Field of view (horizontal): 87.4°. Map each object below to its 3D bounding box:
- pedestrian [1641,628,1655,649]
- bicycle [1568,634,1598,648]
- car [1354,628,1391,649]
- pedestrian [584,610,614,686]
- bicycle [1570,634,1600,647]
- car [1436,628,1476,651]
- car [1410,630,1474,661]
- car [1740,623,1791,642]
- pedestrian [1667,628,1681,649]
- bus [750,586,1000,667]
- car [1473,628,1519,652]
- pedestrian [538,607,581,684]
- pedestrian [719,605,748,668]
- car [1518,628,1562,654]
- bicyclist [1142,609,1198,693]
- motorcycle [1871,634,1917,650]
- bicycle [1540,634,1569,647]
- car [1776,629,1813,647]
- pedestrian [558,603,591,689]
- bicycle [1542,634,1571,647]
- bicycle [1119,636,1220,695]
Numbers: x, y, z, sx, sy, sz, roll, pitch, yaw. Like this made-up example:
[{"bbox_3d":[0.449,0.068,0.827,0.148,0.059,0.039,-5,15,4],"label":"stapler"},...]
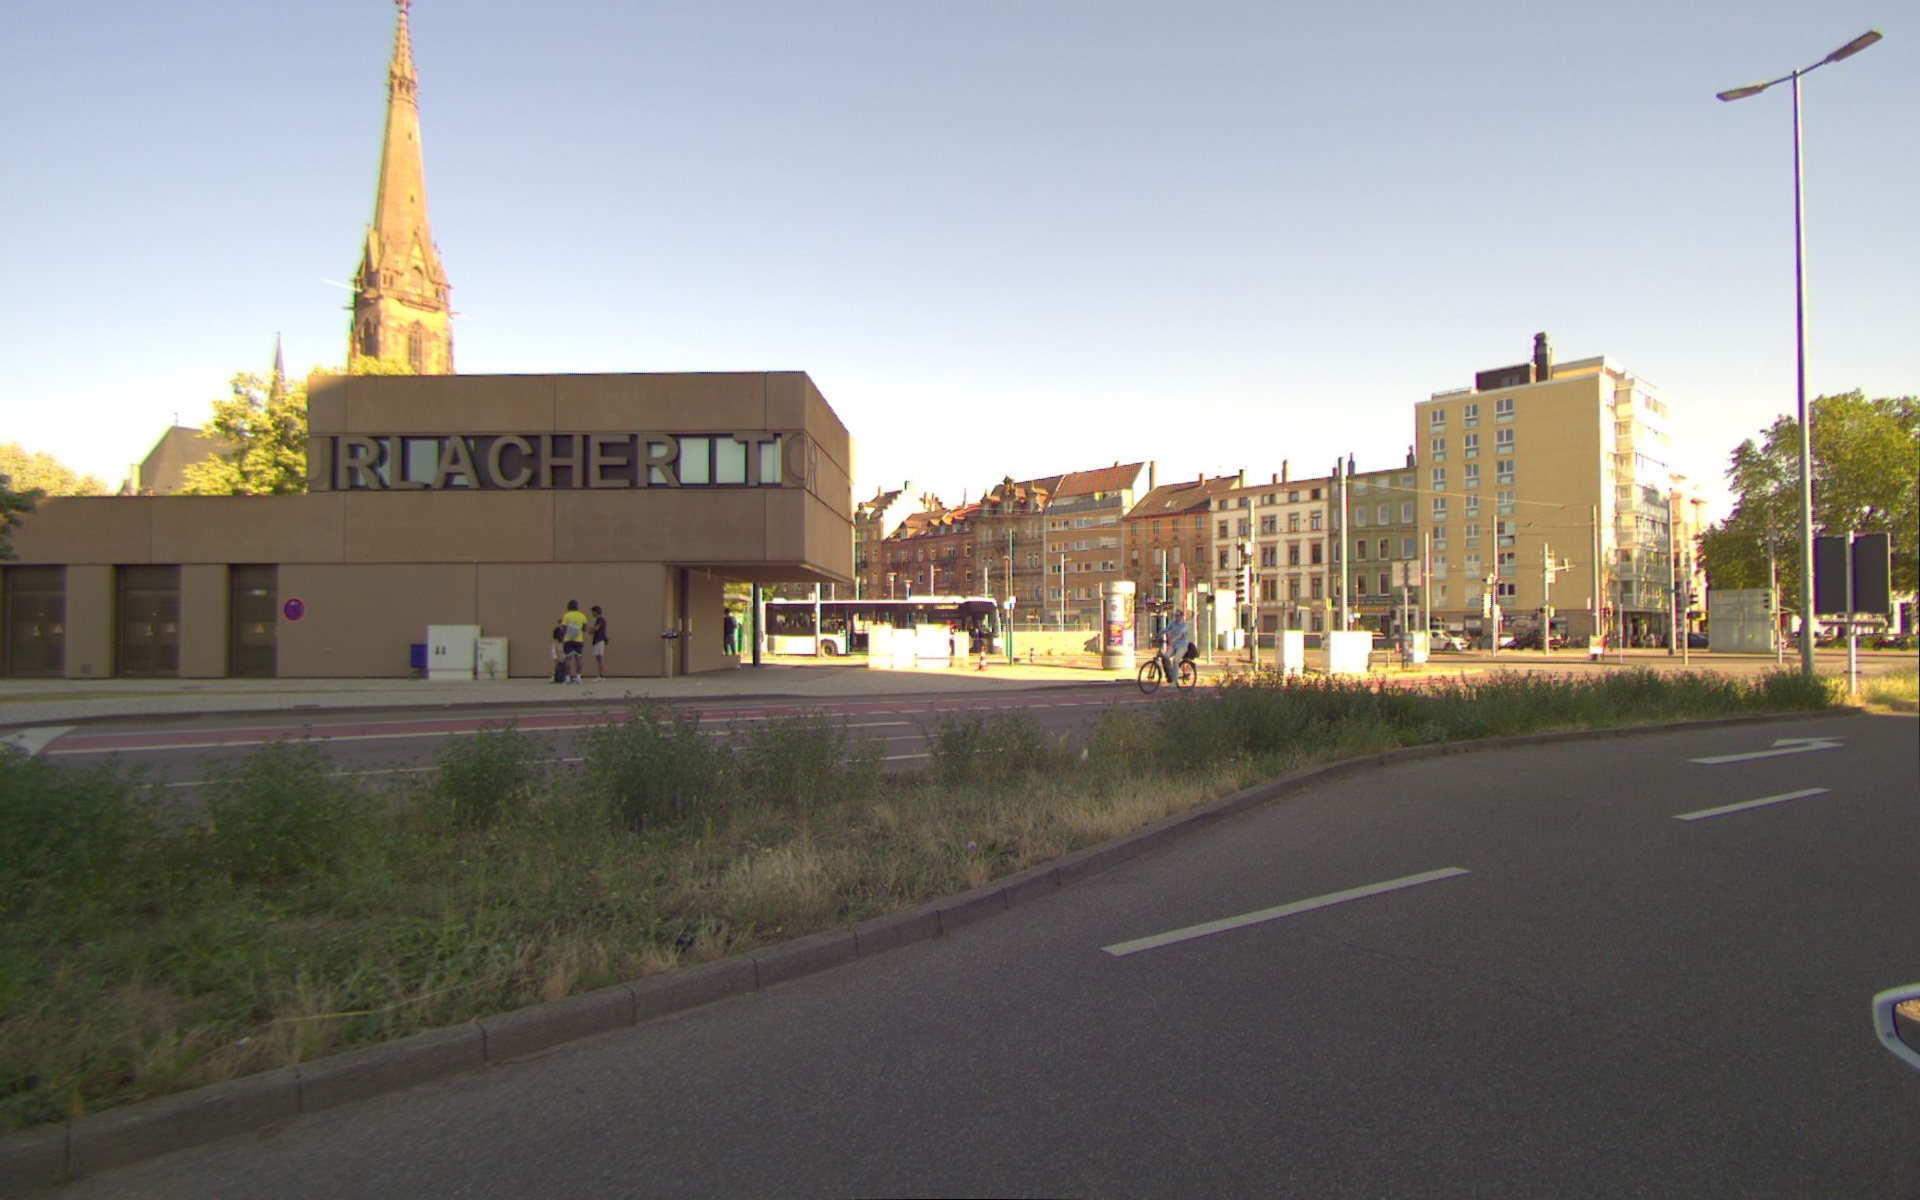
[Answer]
[{"bbox_3d":[57.032,3.179,83.238,0.776,1.698,0.769,1,-2,-41],"label":"pedestrian"},{"bbox_3d":[52.255,3.422,84.251,0.772,1.104,2.023,2,-2,-43],"label":"bicycle"},{"bbox_3d":[36.792,3.423,89.743,2.044,1.742,4.012,-1,0,7],"label":"car"},{"bbox_3d":[-8.286,1.081,23.070,0.540,1.711,0.638,-1,0,-11],"label":"pedestrian"},{"bbox_3d":[52.831,3.413,84.869,0.772,1.104,2.023,2,-2,-43],"label":"bicycle"},{"bbox_3d":[41.454,3.313,84.025,1.802,1.742,4.002,-1,0,7],"label":"car"},{"bbox_3d":[34.699,3.252,72.347,1.986,2.040,3.699,-1,0,-43],"label":"car"},{"bbox_3d":[84.158,3.423,105.017,3.930,1.882,1.848,-1,0,31],"label":"car"},{"bbox_3d":[58.178,3.141,81.884,0.776,1.698,0.769,1,-2,-41],"label":"pedestrian"},{"bbox_3d":[-4.059,1.381,50.120,11.945,3.359,3.253,2,-5,2],"label":"bus"},{"bbox_3d":[43.519,3.250,81.645,1.802,1.771,4.002,-1,0,5],"label":"car"},{"bbox_3d":[-9.308,1.046,23.367,0.651,1.754,0.736,-1,0,1],"label":"pedestrian"},{"bbox_3d":[-7.426,1.201,32.959,0.704,2.007,0.981,-1,-2,2],"label":"pedestrian"},{"bbox_3d":[45.889,3.188,79.541,1.815,1.882,4.002,-1,0,12],"label":"car"},{"bbox_3d":[4.729,1.140,22.621,1.004,1.856,0.734,2,-2,-37],"label":"bicyclist"},{"bbox_3d":[64.949,2.916,69.890,0.681,1.068,2.268,-1,0,-36],"label":"motorcycle"},{"bbox_3d":[50.789,3.456,85.840,0.772,1.104,2.023,2,-2,-43],"label":"bicycle"},{"bbox_3d":[71.295,3.261,85.806,3.968,1.471,1.831,1,-2,-40],"label":"car"},{"bbox_3d":[-8.534,0.994,22.216,0.630,1.860,0.714,-1,0,-24],"label":"pedestrian"},{"bbox_3d":[51.358,3.456,86.501,0.772,1.104,2.023,2,-2,-43],"label":"bicycle"},{"bbox_3d":[4.744,1.460,22.630,2.533,1.271,0.734,2,-2,-37],"label":"bicycle"}]
